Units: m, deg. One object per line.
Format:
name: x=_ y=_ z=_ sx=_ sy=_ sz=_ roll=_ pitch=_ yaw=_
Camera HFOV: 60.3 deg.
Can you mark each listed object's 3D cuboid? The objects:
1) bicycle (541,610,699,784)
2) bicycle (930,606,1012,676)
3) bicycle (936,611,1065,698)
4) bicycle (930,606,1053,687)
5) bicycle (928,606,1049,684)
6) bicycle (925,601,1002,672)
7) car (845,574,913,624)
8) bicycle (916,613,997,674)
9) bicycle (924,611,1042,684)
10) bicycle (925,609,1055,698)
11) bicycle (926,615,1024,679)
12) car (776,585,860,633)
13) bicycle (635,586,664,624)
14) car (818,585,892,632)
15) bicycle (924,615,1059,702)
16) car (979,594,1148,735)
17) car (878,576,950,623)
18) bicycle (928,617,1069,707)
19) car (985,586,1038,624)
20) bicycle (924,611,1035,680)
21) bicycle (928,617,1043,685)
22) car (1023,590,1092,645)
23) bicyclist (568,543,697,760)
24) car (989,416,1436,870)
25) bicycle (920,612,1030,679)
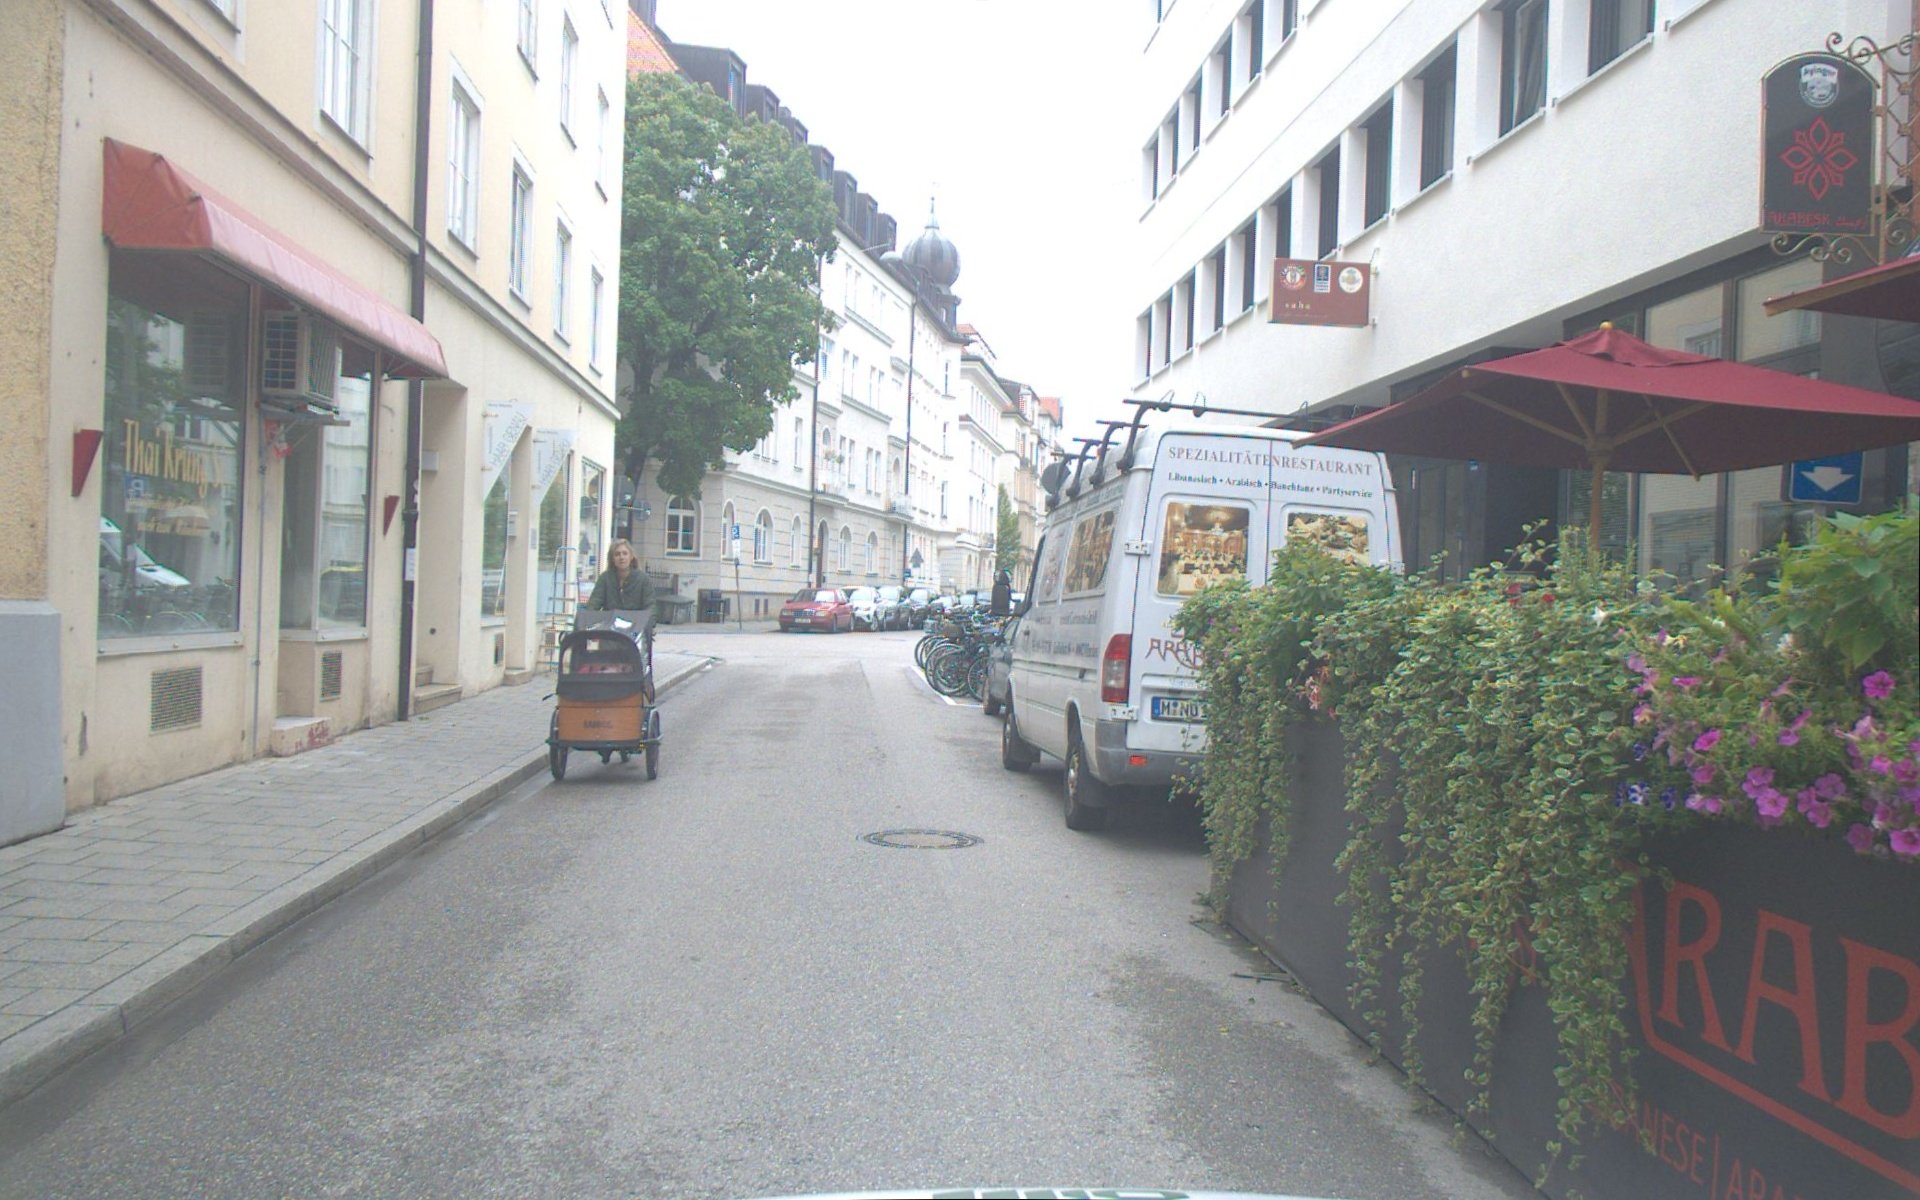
bicycle: x=-2.713 y=0.729 z=13.499 sx=0.913 sy=1.279 sz=2.412 roll=1 pitch=0 yaw=-4
bicycle: x=0.201 y=0.765 z=30.814 sx=1.425 sy=1.228 sz=0.394 roll=2 pitch=0 yaw=-12
bicycle: x=0.606 y=0.827 z=25.068 sx=1.838 sy=1.177 sz=0.564 roll=4 pitch=1 yaw=-7
bicycle: x=0.489 y=0.718 z=25.792 sx=1.838 sy=1.225 sz=0.579 roll=1 pitch=0 yaw=-7
bicycle: x=0.446 y=0.719 z=26.400 sx=1.857 sy=1.190 sz=0.565 roll=1 pitch=0 yaw=-7
bicycle: x=0.064 y=0.705 z=32.267 sx=1.428 sy=1.307 sz=0.445 roll=2 pitch=0 yaw=-3
car: x=-2.984 y=-0.036 z=61.595 sx=1.902 sy=1.732 sz=4.003 roll=3 pitch=0 yaw=6
bicycle: x=-0.067 y=0.820 z=31.245 sx=1.425 sy=1.088 sz=0.462 roll=2 pitch=0 yaw=-12
bicycle: x=0.374 y=0.776 z=26.957 sx=1.838 sy=1.114 sz=0.439 roll=2 pitch=1 yaw=-8
bicycle: x=0.439 y=0.784 z=24.371 sx=1.838 sy=1.225 sz=0.488 roll=2 pitch=1 yaw=-7
bicycle: x=0.268 y=0.850 z=30.035 sx=1.707 sy=1.098 sz=0.451 roll=2 pitch=1 yaw=-8
car: x=-4.416 y=0.273 z=51.968 sx=1.694 sy=1.402 sz=4.230 roll=2 pitch=0 yaw=7
bicycle: x=-9.430 y=0.144 z=50.317 sx=0.483 sy=1.070 sz=1.827 roll=2 pitch=2 yaw=1
car: x=-3.572 y=0.276 z=56.836 sx=1.952 sy=1.499 sz=4.221 roll=2 pitch=0 yaw=4
bicycle: x=0.449 y=0.842 z=23.850 sx=1.838 sy=1.127 sz=0.488 roll=3 pitch=1 yaw=-7
car: x=1.160 y=0.702 z=19.892 sx=1.549 sy=1.489 sz=3.549 roll=2 pitch=0 yaw=-4
car: x=-1.825 y=-0.017 z=66.959 sx=1.951 sy=1.768 sz=4.525 roll=3 pitch=0 yaw=10
bicycle: x=0.528 y=0.858 z=22.968 sx=1.838 sy=1.098 sz=0.488 roll=4 pitch=1 yaw=-7
car: x=2.376 y=0.227 z=75.090 sx=1.915 sy=1.635 sz=4.312 roll=2 pitch=0 yaw=8
bicycle: x=0.327 y=0.784 z=28.357 sx=1.838 sy=1.098 sz=0.402 roll=2 pitch=1 yaw=-8
bicycle: x=0.415 y=0.846 z=27.665 sx=1.838 sy=1.070 sz=0.563 roll=2 pitch=-1 yaw=-8
car: x=3.326 y=0.572 z=55.595 sx=1.781 sy=1.664 sz=4.292 roll=4 pitch=0 yaw=9
bicyclist: x=-2.744 y=0.413 z=13.958 sx=0.908 sy=1.751 sz=1.099 roll=1 pitch=0 yaw=-4
car: x=1.539 y=0.230 z=12.626 sx=1.883 sy=2.549 sz=5.991 roll=3 pitch=0 yaw=-5
bicycle: x=0.258 y=0.790 z=28.792 sx=1.838 sy=1.098 sz=0.408 roll=2 pitch=1 yaw=-8
